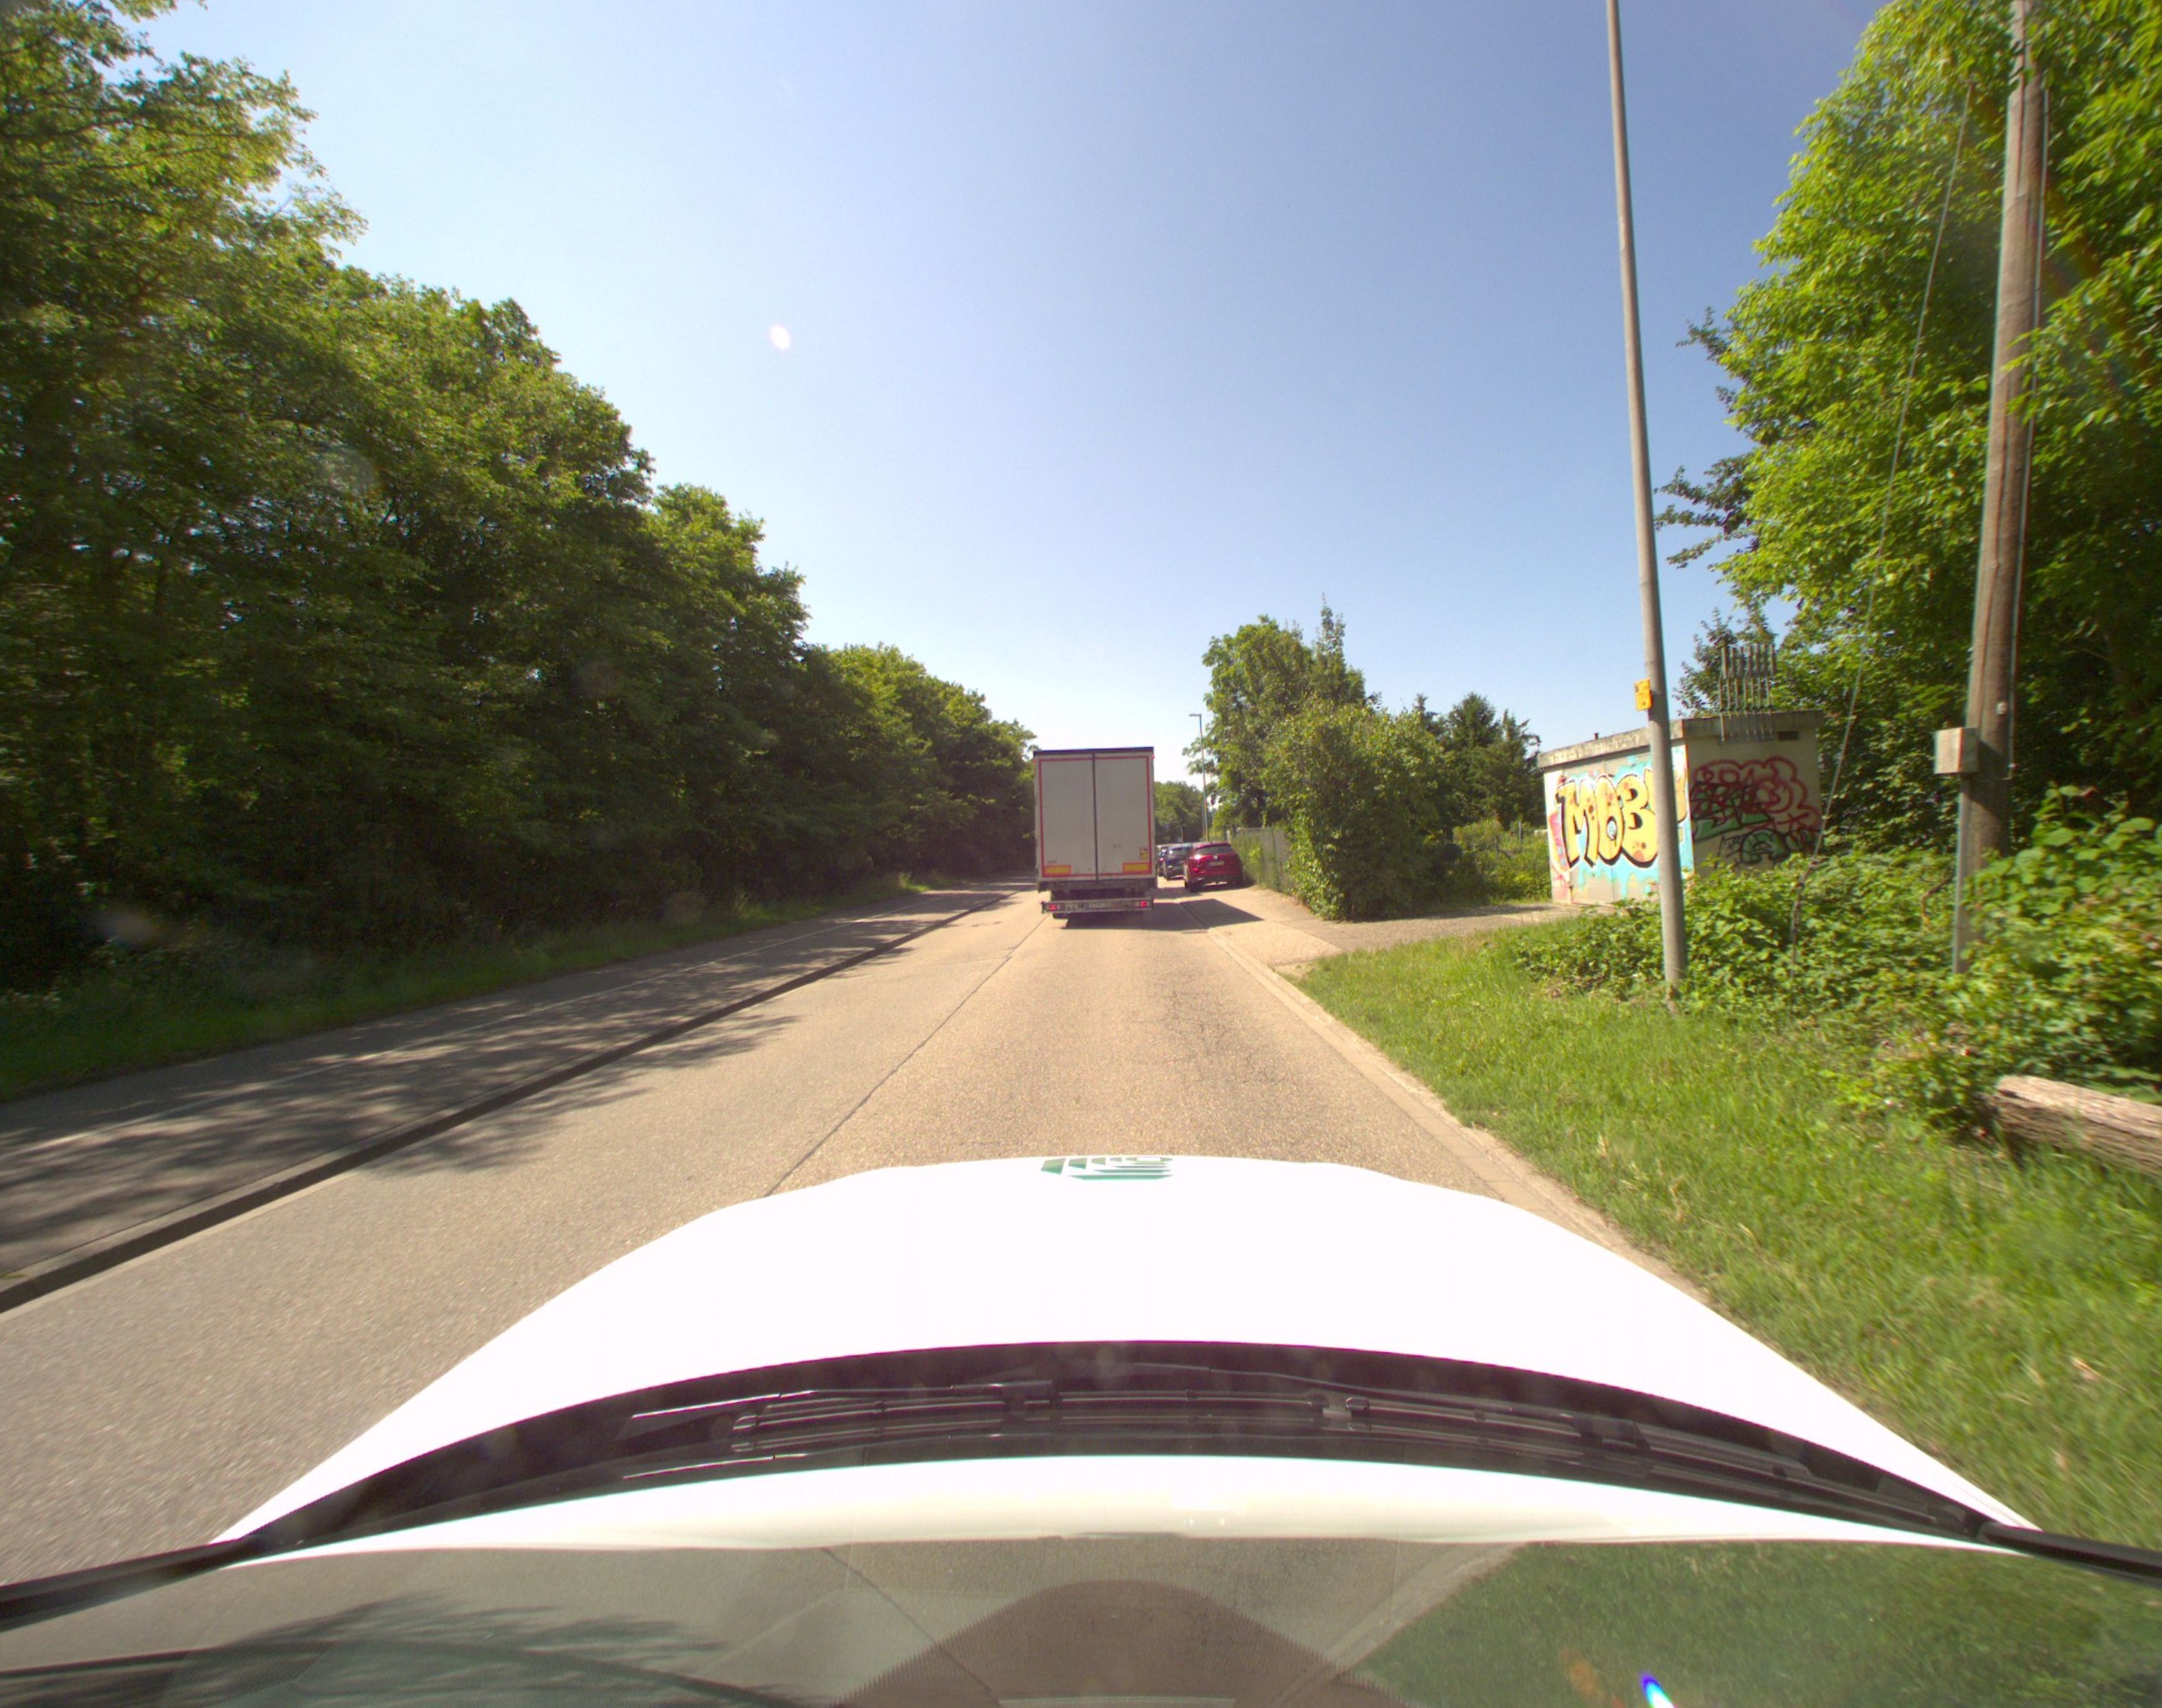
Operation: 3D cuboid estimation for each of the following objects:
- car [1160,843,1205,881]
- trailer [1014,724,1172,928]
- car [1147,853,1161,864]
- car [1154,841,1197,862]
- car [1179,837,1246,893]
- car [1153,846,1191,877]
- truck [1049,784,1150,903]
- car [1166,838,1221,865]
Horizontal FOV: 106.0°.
[{"bbox_3d":[4.842,0.319,39.400,1.782,1.603,4.133,-4,1,3],"label":"car"},{"bbox_3d":[0.430,-0.601,22.741,3.101,4.102,11.541,-3,0,2],"label":"trailer"},{"bbox_3d":[10.759,0.605,120.516,1.770,1.486,4.010,-3,0,9],"label":"car"},{"bbox_3d":[10.645,-0.310,92.060,4.597,1.848,2.000,-7,0,7],"label":"car"},{"bbox_3d":[4.602,0.346,29.117,1.782,1.658,4.457,-7,0,4],"label":"car"},{"bbox_3d":[5.034,0.378,45.555,1.782,1.481,4.669,-7,0,4],"label":"car"},{"bbox_3d":[0.682,-0.356,29.683,3.102,3.725,6.416,-3,0,1],"label":"truck"},{"bbox_3d":[9.074,-0.174,65.967,4.236,1.698,1.857,-7,0,6],"label":"car"}]
